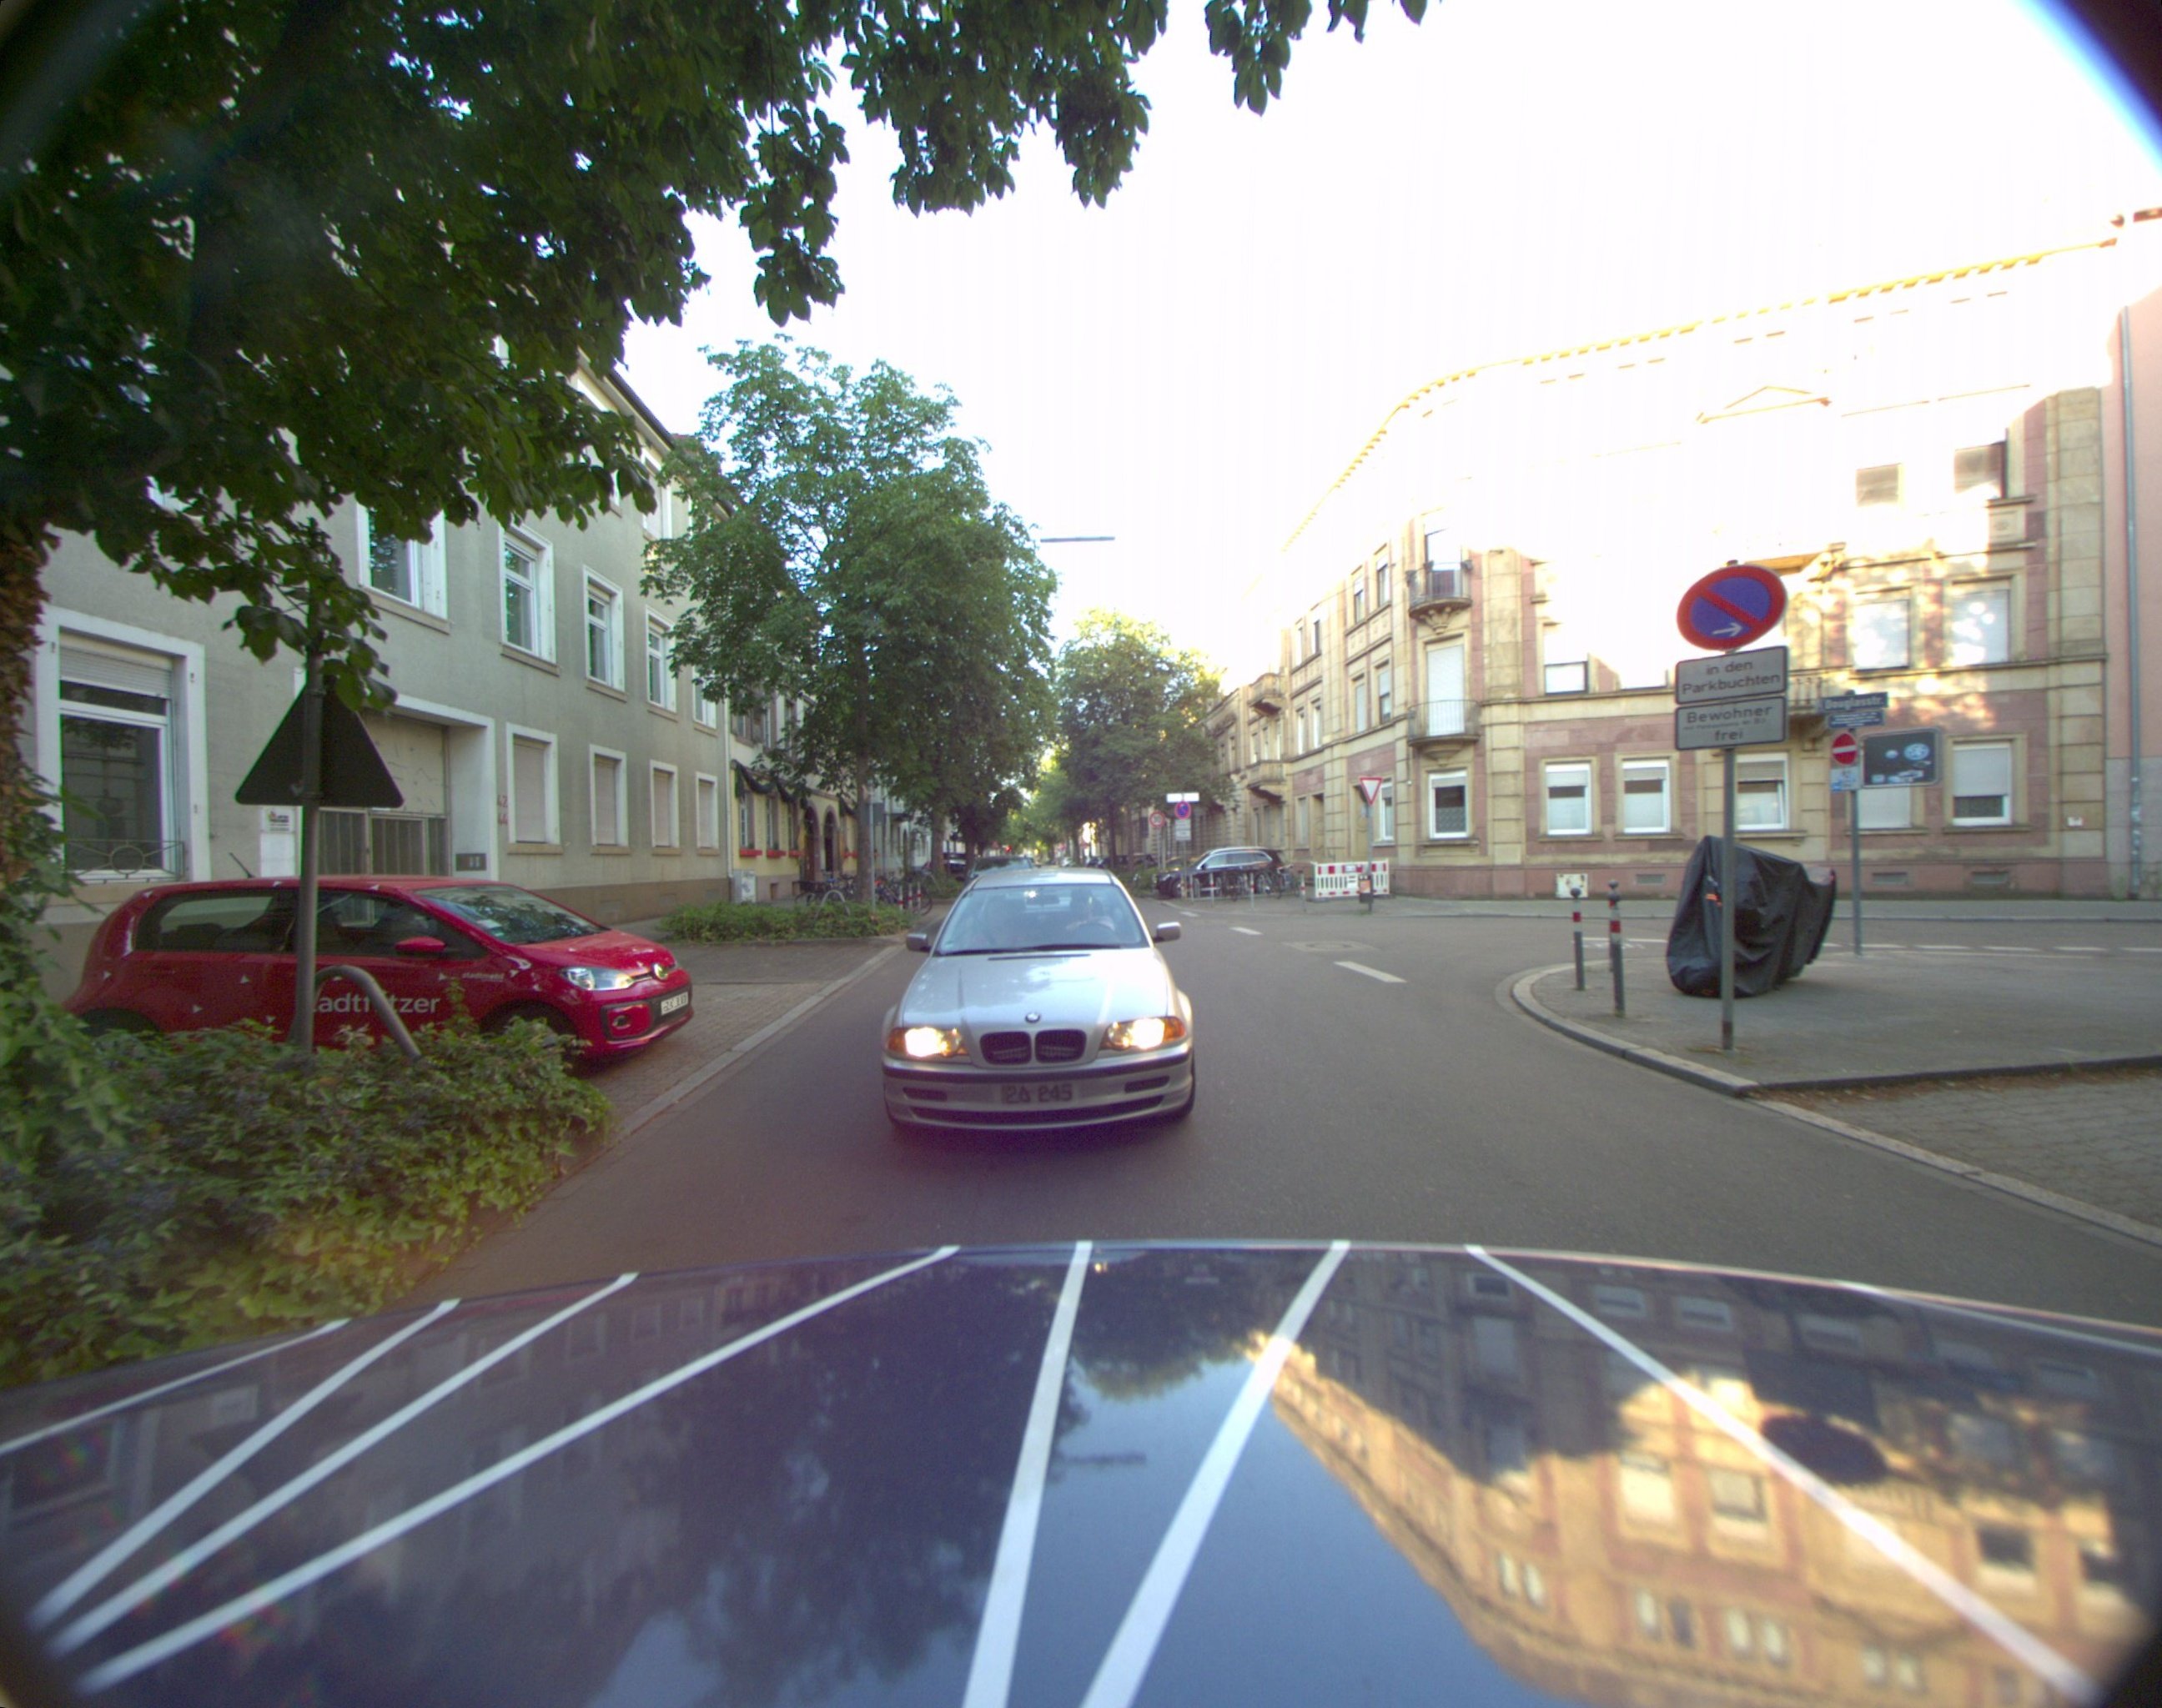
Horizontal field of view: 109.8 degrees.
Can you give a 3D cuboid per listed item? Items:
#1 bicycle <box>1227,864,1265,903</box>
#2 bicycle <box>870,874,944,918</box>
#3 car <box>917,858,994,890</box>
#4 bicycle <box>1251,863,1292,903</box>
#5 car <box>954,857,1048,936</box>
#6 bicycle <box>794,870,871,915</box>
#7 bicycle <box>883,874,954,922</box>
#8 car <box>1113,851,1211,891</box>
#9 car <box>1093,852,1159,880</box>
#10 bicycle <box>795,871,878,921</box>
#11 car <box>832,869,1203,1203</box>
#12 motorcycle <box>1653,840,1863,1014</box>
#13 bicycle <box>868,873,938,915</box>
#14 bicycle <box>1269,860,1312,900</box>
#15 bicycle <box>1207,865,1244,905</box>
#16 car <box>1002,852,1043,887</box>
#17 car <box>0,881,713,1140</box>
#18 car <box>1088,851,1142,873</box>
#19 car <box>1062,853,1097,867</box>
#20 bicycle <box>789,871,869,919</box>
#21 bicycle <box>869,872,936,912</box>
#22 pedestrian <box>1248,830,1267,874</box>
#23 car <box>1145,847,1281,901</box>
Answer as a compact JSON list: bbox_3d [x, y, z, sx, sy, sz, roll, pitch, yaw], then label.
[{"bbox_3d":[5.112,0.891,23.681,0.562,1.144,2.039,-1,0,-5],"label":"bicycle"},{"bbox_3d":[-4.988,1.198,21.897,2.029,1.220,0.535,-1,1,-9],"label":"bicycle"},{"bbox_3d":[-7.212,1.127,44.009,4.245,1.729,1.741,-1,1,-4],"label":"car"},{"bbox_3d":[5.907,0.869,23.698,0.562,1.144,2.038,-1,0,-6],"label":"bicycle"},{"bbox_3d":[-1.703,0.865,17.318,1.806,1.543,3.999,-1,0,-2],"label":"car"},{"bbox_3d":[-7.142,1.097,21.922,2.029,1.220,0.535,-1,1,-11],"label":"bicycle"},{"bbox_3d":[-4.402,1.176,20.639,1.849,1.220,0.535,-1,1,-14],"label":"bicycle"},{"bbox_3d":[3.575,0.759,34.092,4.243,1.668,1.742,-1,1,1],"label":"car"},{"bbox_3d":[2.950,0.790,50.414,4.244,1.749,1.741,-1,1,-3],"label":"car"},{"bbox_3d":[-6.418,1.093,20.050,2.030,1.220,0.535,-1,1,-14],"label":"bicycle"},{"bbox_3d":[-0.269,0.905,5.787,1.711,1.433,4.435,-1,0,1],"label":"car"},{"bbox_3d":[6.737,0.634,7.530,2.286,1.496,0.816,-1,1,-28],"label":"motorcycle"},{"bbox_3d":[-5.416,1.198,23.192,2.029,1.220,0.535,-1,1,-9],"label":"bicycle"},{"bbox_3d":[6.526,0.789,23.729,0.562,1.144,2.038,-1,0,-6],"label":"bicycle"},{"bbox_3d":[4.472,0.936,23.632,0.562,1.144,2.039,-1,0,-5],"label":"bicycle"},{"bbox_3d":[-2.767,0.689,36.558,1.806,1.543,3.999,-1,0,-3],"label":"car"},{"bbox_3d":[-4.986,1.006,5.690,3.621,1.468,1.664,-1,1,-5],"label":"car"},{"bbox_3d":[2.782,0.663,62.897,4.244,1.749,1.741,-1,1,-3],"label":"car"},{"bbox_3d":[-0.172,0.732,94.688,4.244,1.749,1.741,-1,1,-3],"label":"car"},{"bbox_3d":[-6.856,1.101,20.766,2.030,1.220,0.535,-1,1,-14],"label":"bicycle"},{"bbox_3d":[-5.630,1.195,24.069,2.029,1.220,0.535,-1,1,-9],"label":"bicycle"},{"bbox_3d":[7.371,-0.068,31.766,0.573,1.797,0.651,-1,1,-1],"label":"pedestrian"},{"bbox_3d":[4.544,0.670,26.645,4.422,1.771,1.742,-1,1,-1],"label":"car"}]
